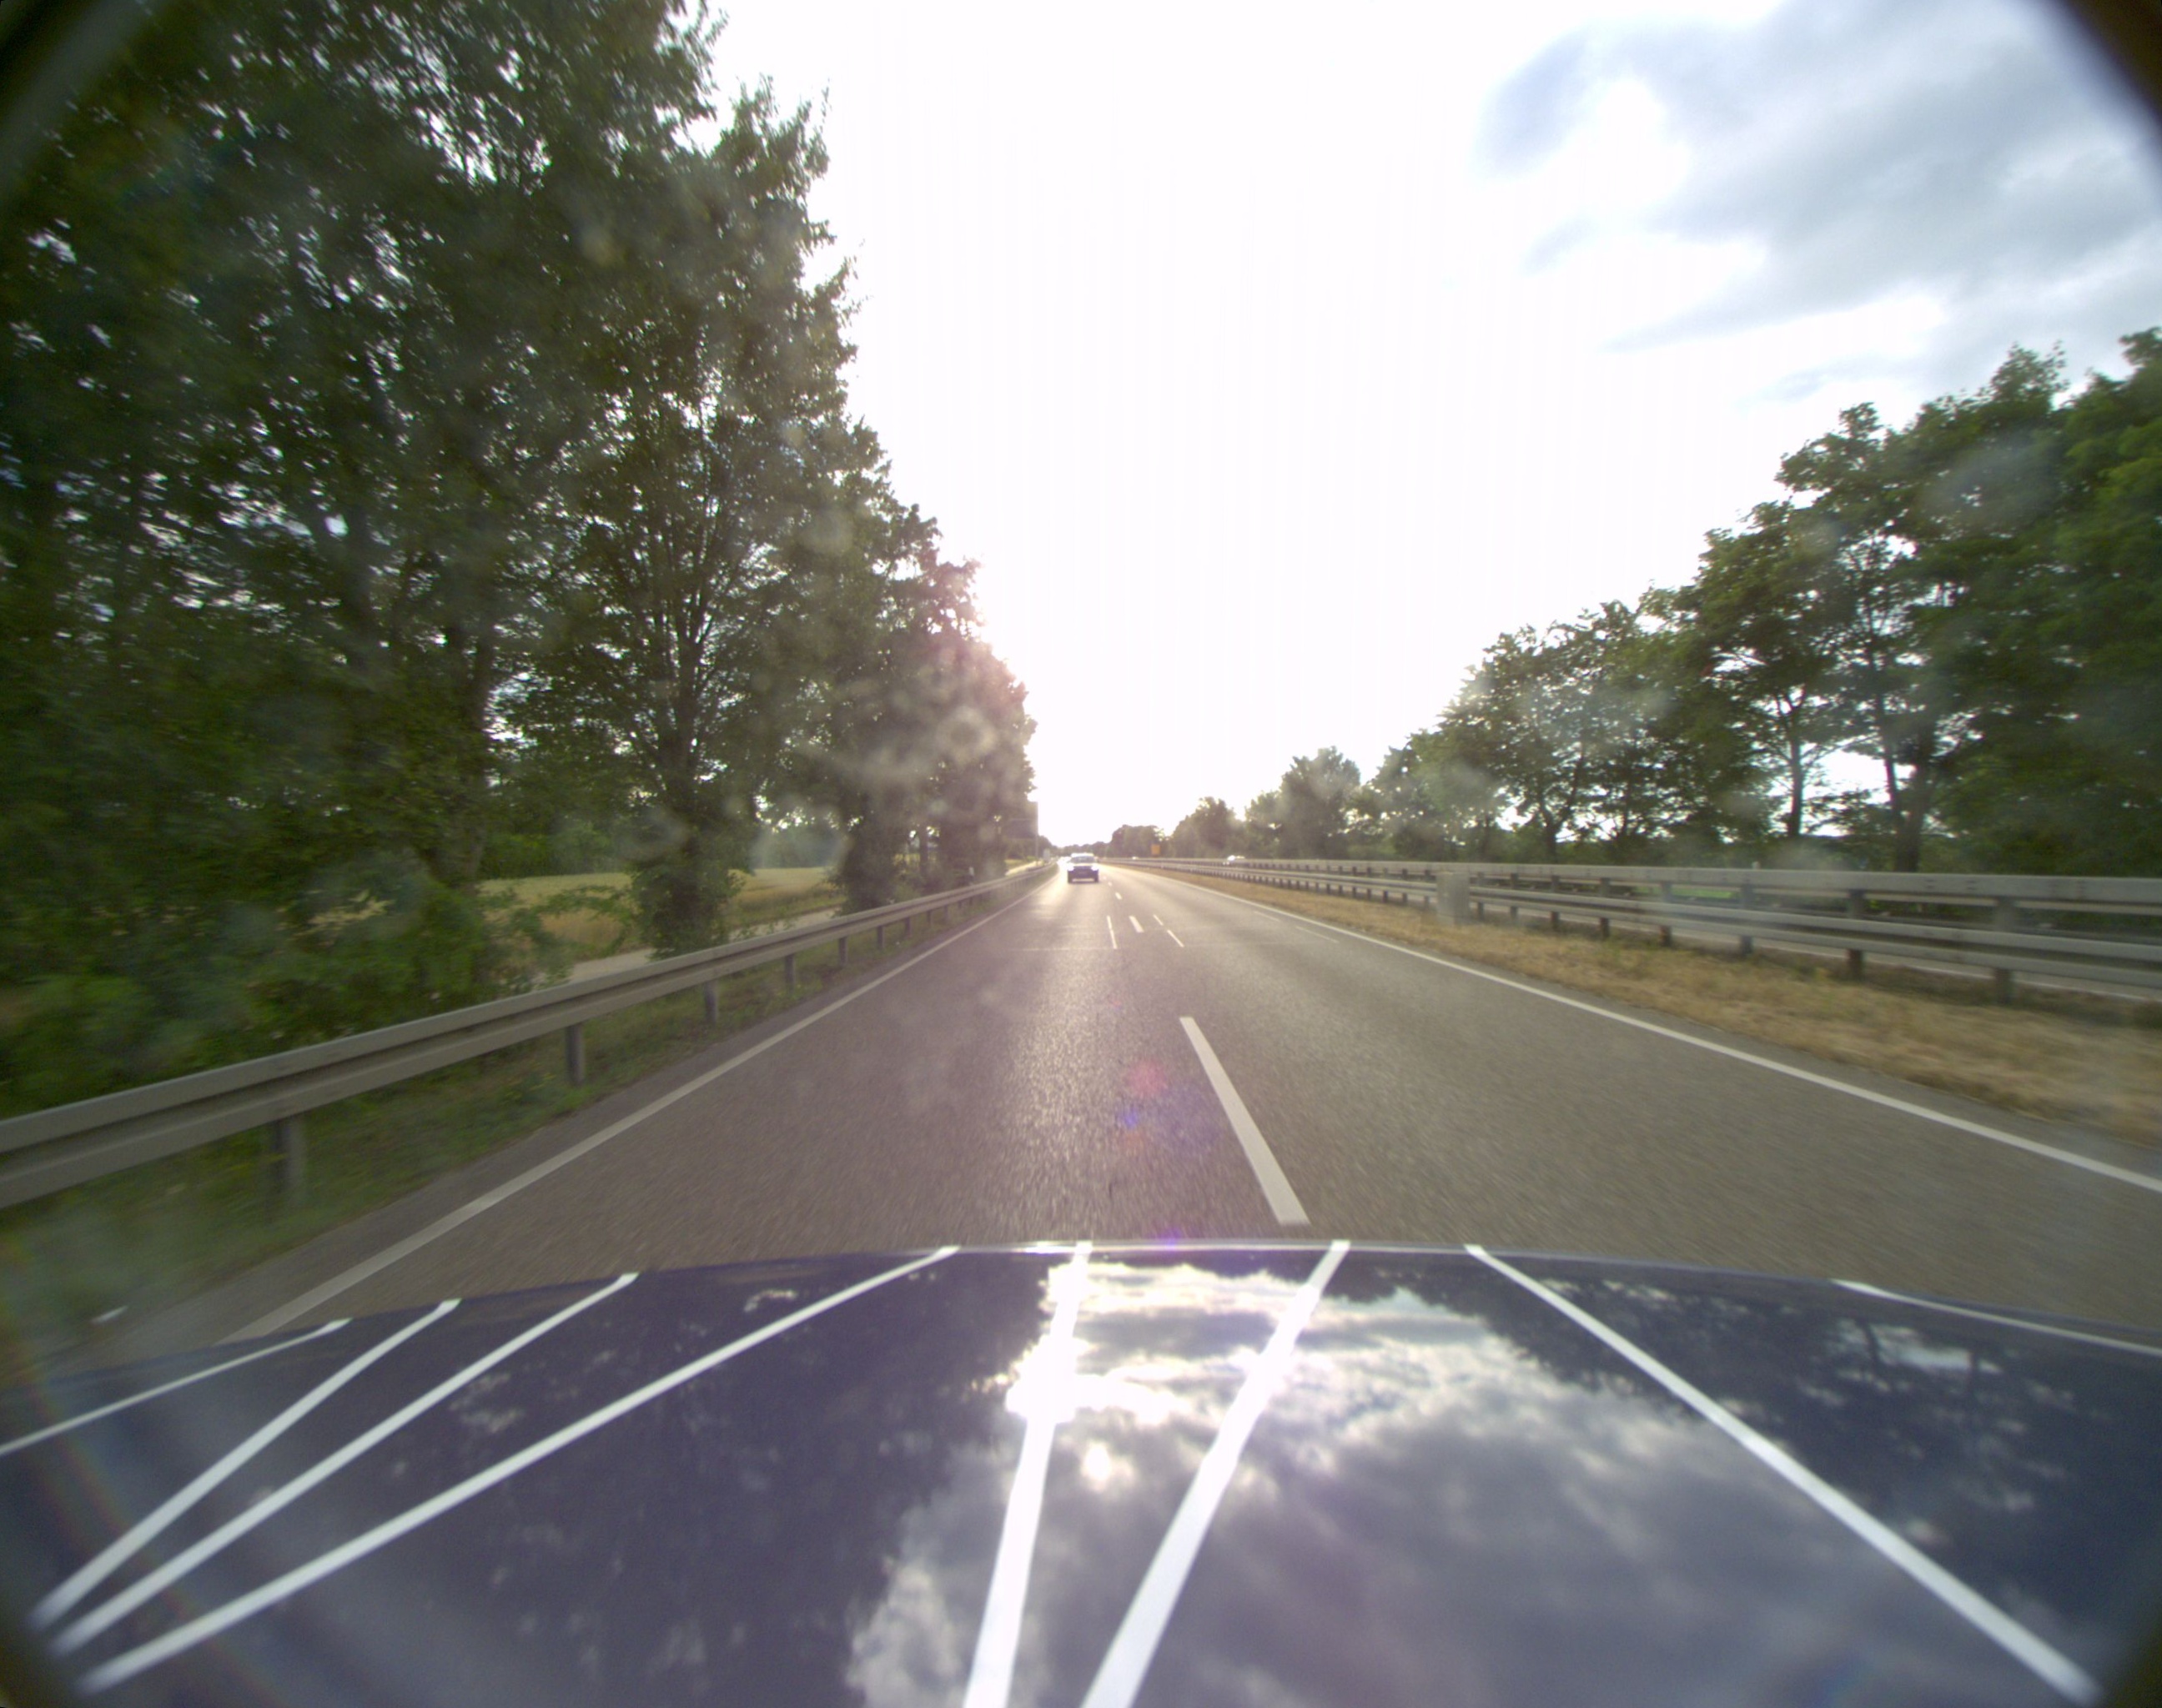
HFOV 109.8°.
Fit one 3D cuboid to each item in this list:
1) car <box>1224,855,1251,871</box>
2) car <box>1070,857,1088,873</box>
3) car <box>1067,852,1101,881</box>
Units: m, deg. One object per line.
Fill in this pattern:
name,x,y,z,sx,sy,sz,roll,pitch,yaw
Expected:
car,15.976,0.923,77.670,1.829,1.535,4.587,0,0,1
car,-0.234,1.083,76.279,1.776,1.389,3.999,-2,0,-1
car,0.207,0.713,45.423,1.863,1.636,4.000,-2,0,1
